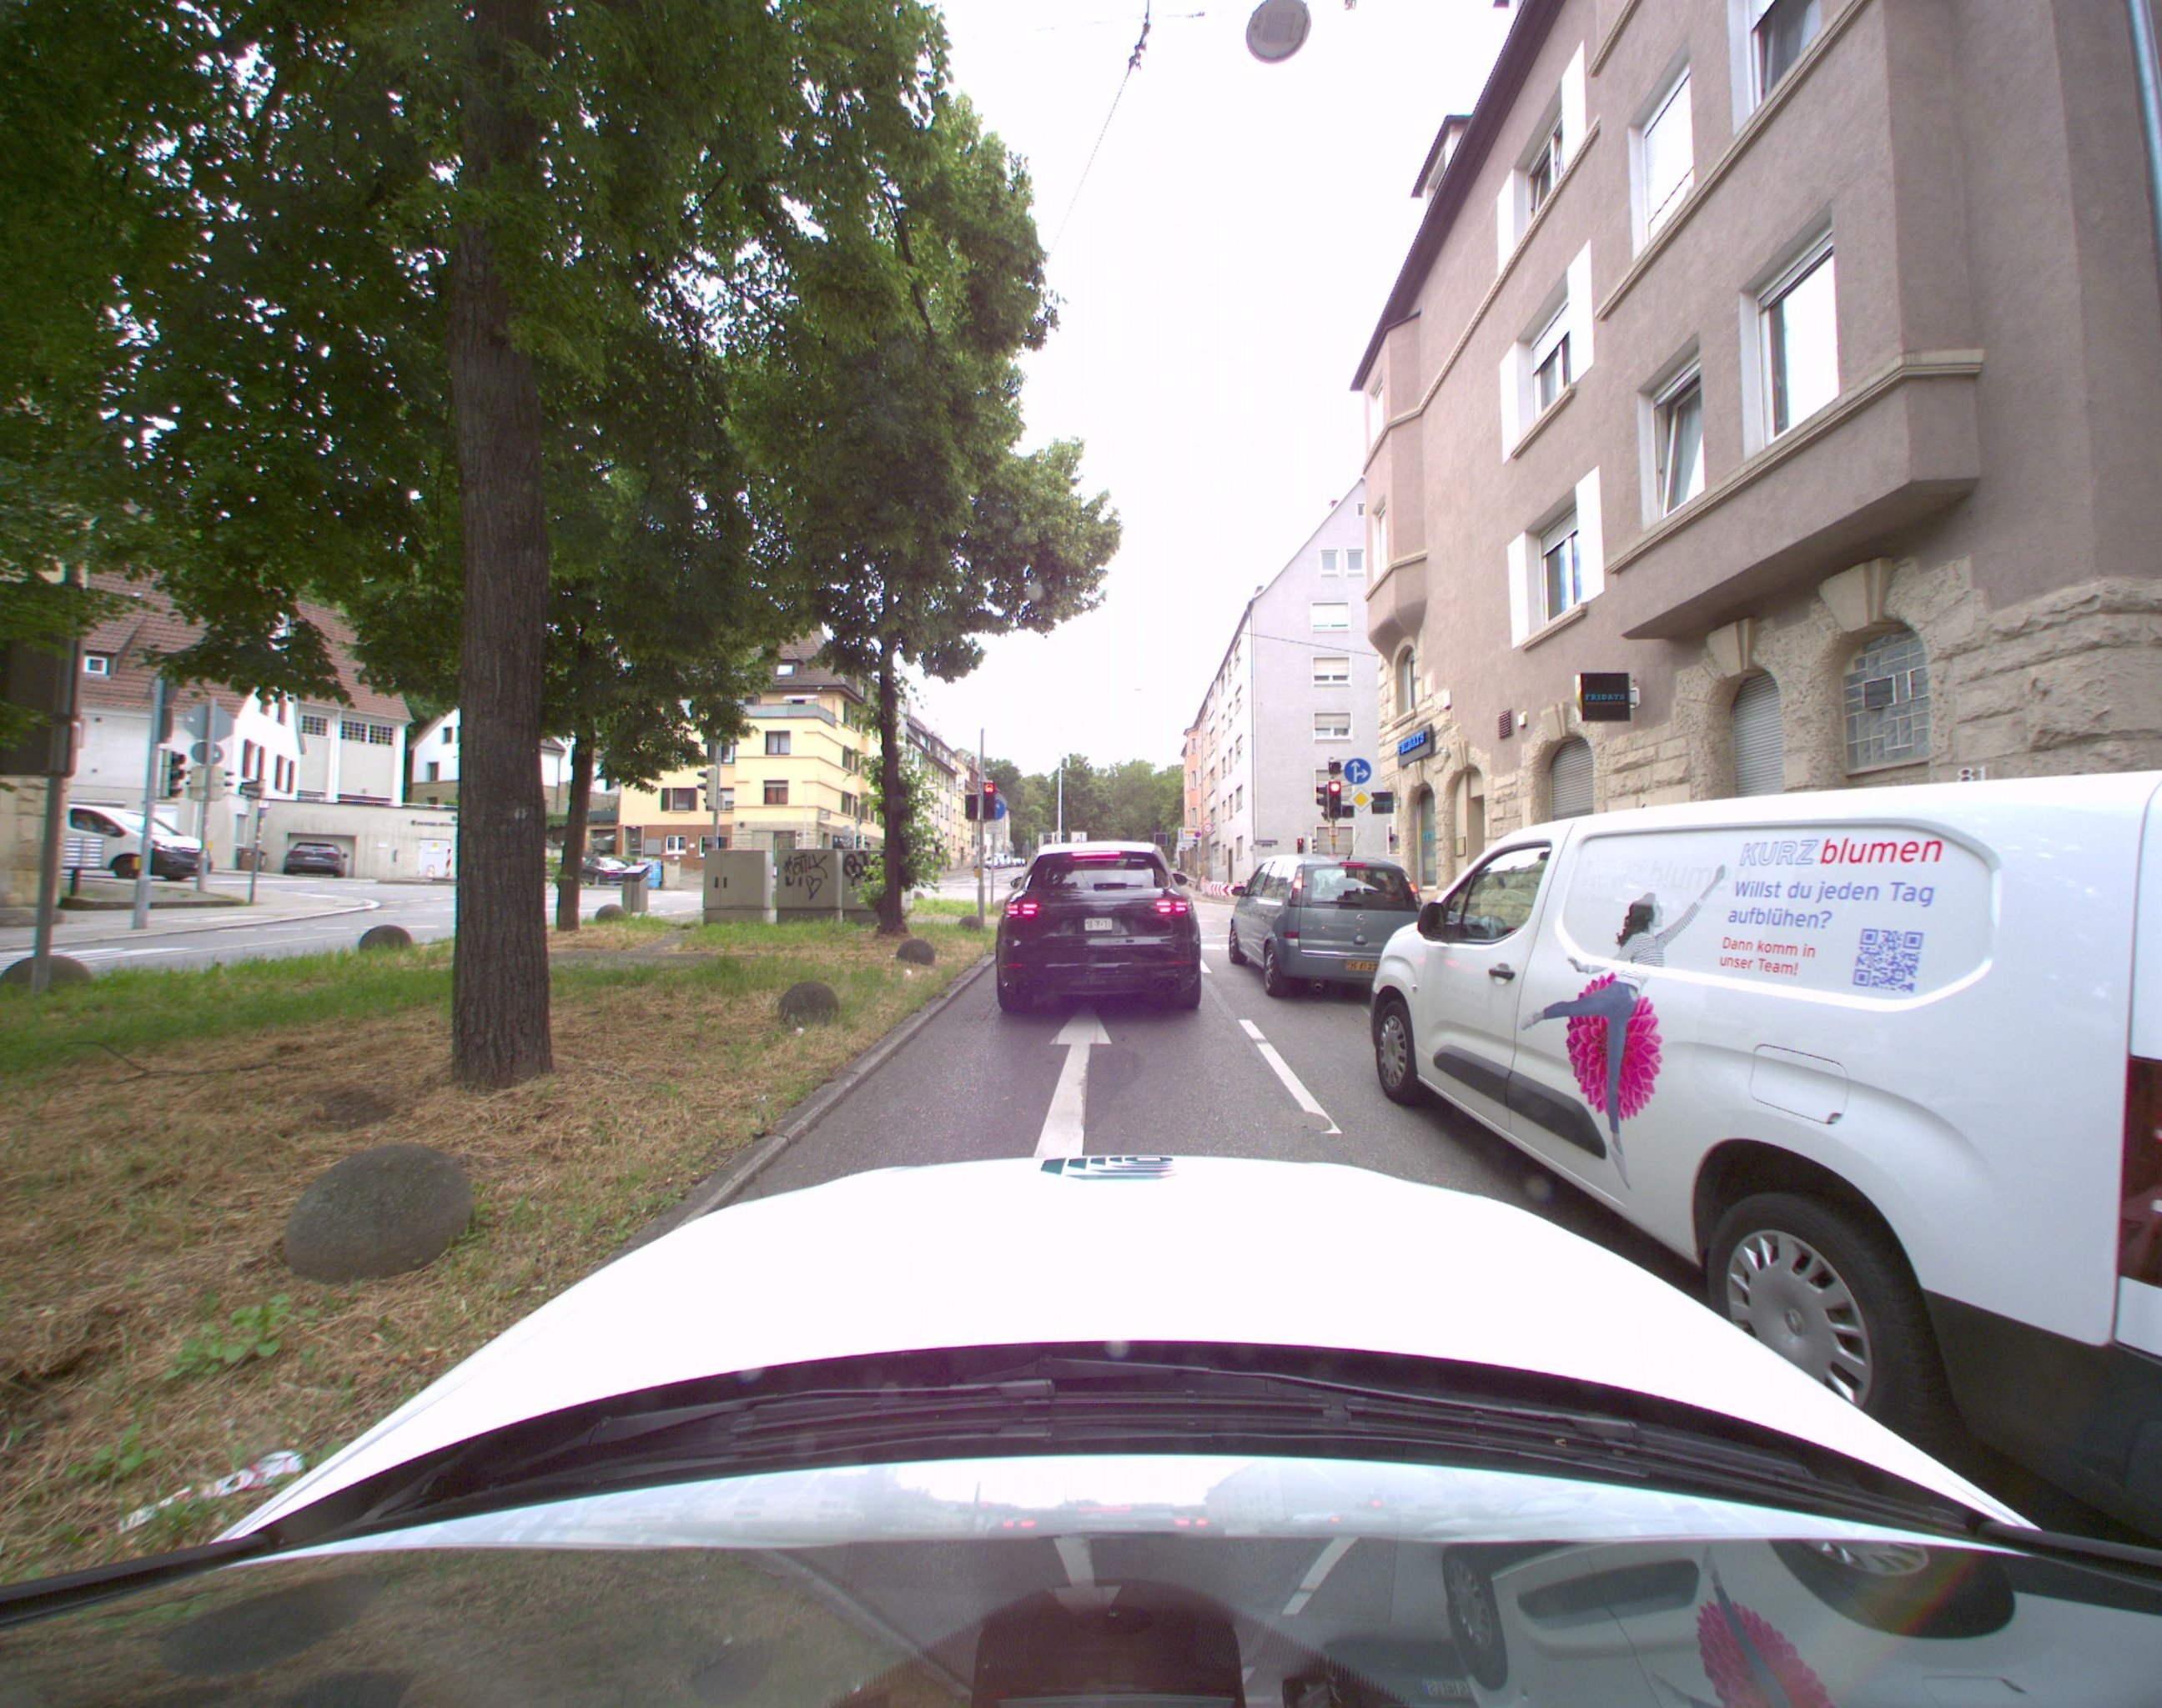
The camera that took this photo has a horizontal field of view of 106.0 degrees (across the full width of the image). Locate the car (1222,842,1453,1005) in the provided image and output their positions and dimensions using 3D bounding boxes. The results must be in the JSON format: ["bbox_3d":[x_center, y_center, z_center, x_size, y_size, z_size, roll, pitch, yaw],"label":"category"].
[{"bbox_3d":[2.963,0.730,10.210,1.746,1.593,3.630,3,0,1],"label":"car"}]

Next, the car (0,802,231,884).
[{"bbox_3d":[-27.199,-0.278,22.155,5.186,2.064,1.982,2,-1,-21],"label":"car"}]

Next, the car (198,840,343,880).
[{"bbox_3d":[-32.524,0.239,32.865,4.021,1.510,1.779,1,0,-41],"label":"car"}]

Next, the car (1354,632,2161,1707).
[{"bbox_3d":[2.784,0.606,3.823,1.840,1.825,5.029,1,-2,6],"label":"car"}]

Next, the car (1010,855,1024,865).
[{"bbox_3d":[-10.078,0.963,127.644,1.788,1.510,4.001,0,0,1],"label":"car"}]

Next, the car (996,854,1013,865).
[{"bbox_3d":[-10.455,0.720,111.488,1.788,1.510,4.001,0,0,1],"label":"car"}]

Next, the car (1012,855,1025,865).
[{"bbox_3d":[-10.143,0.964,132.546,1.788,1.510,4.001,0,0,1],"label":"car"}]

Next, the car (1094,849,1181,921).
[{"bbox_3d":[1.436,0.752,20.954,1.986,1.653,4.003,-1,-1,3],"label":"car"}]

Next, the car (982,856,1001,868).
[{"bbox_3d":[-11.067,0.992,101.239,1.788,1.510,4.001,0,0,1],"label":"car"}]

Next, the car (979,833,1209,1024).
[{"bbox_3d":[0.227,0.645,9.123,1.986,1.653,4.004,-1,0,3],"label":"car"}]

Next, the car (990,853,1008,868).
[{"bbox_3d":[-10.672,0.822,106.259,1.788,1.810,4.001,0,0,1],"label":"car"}]
